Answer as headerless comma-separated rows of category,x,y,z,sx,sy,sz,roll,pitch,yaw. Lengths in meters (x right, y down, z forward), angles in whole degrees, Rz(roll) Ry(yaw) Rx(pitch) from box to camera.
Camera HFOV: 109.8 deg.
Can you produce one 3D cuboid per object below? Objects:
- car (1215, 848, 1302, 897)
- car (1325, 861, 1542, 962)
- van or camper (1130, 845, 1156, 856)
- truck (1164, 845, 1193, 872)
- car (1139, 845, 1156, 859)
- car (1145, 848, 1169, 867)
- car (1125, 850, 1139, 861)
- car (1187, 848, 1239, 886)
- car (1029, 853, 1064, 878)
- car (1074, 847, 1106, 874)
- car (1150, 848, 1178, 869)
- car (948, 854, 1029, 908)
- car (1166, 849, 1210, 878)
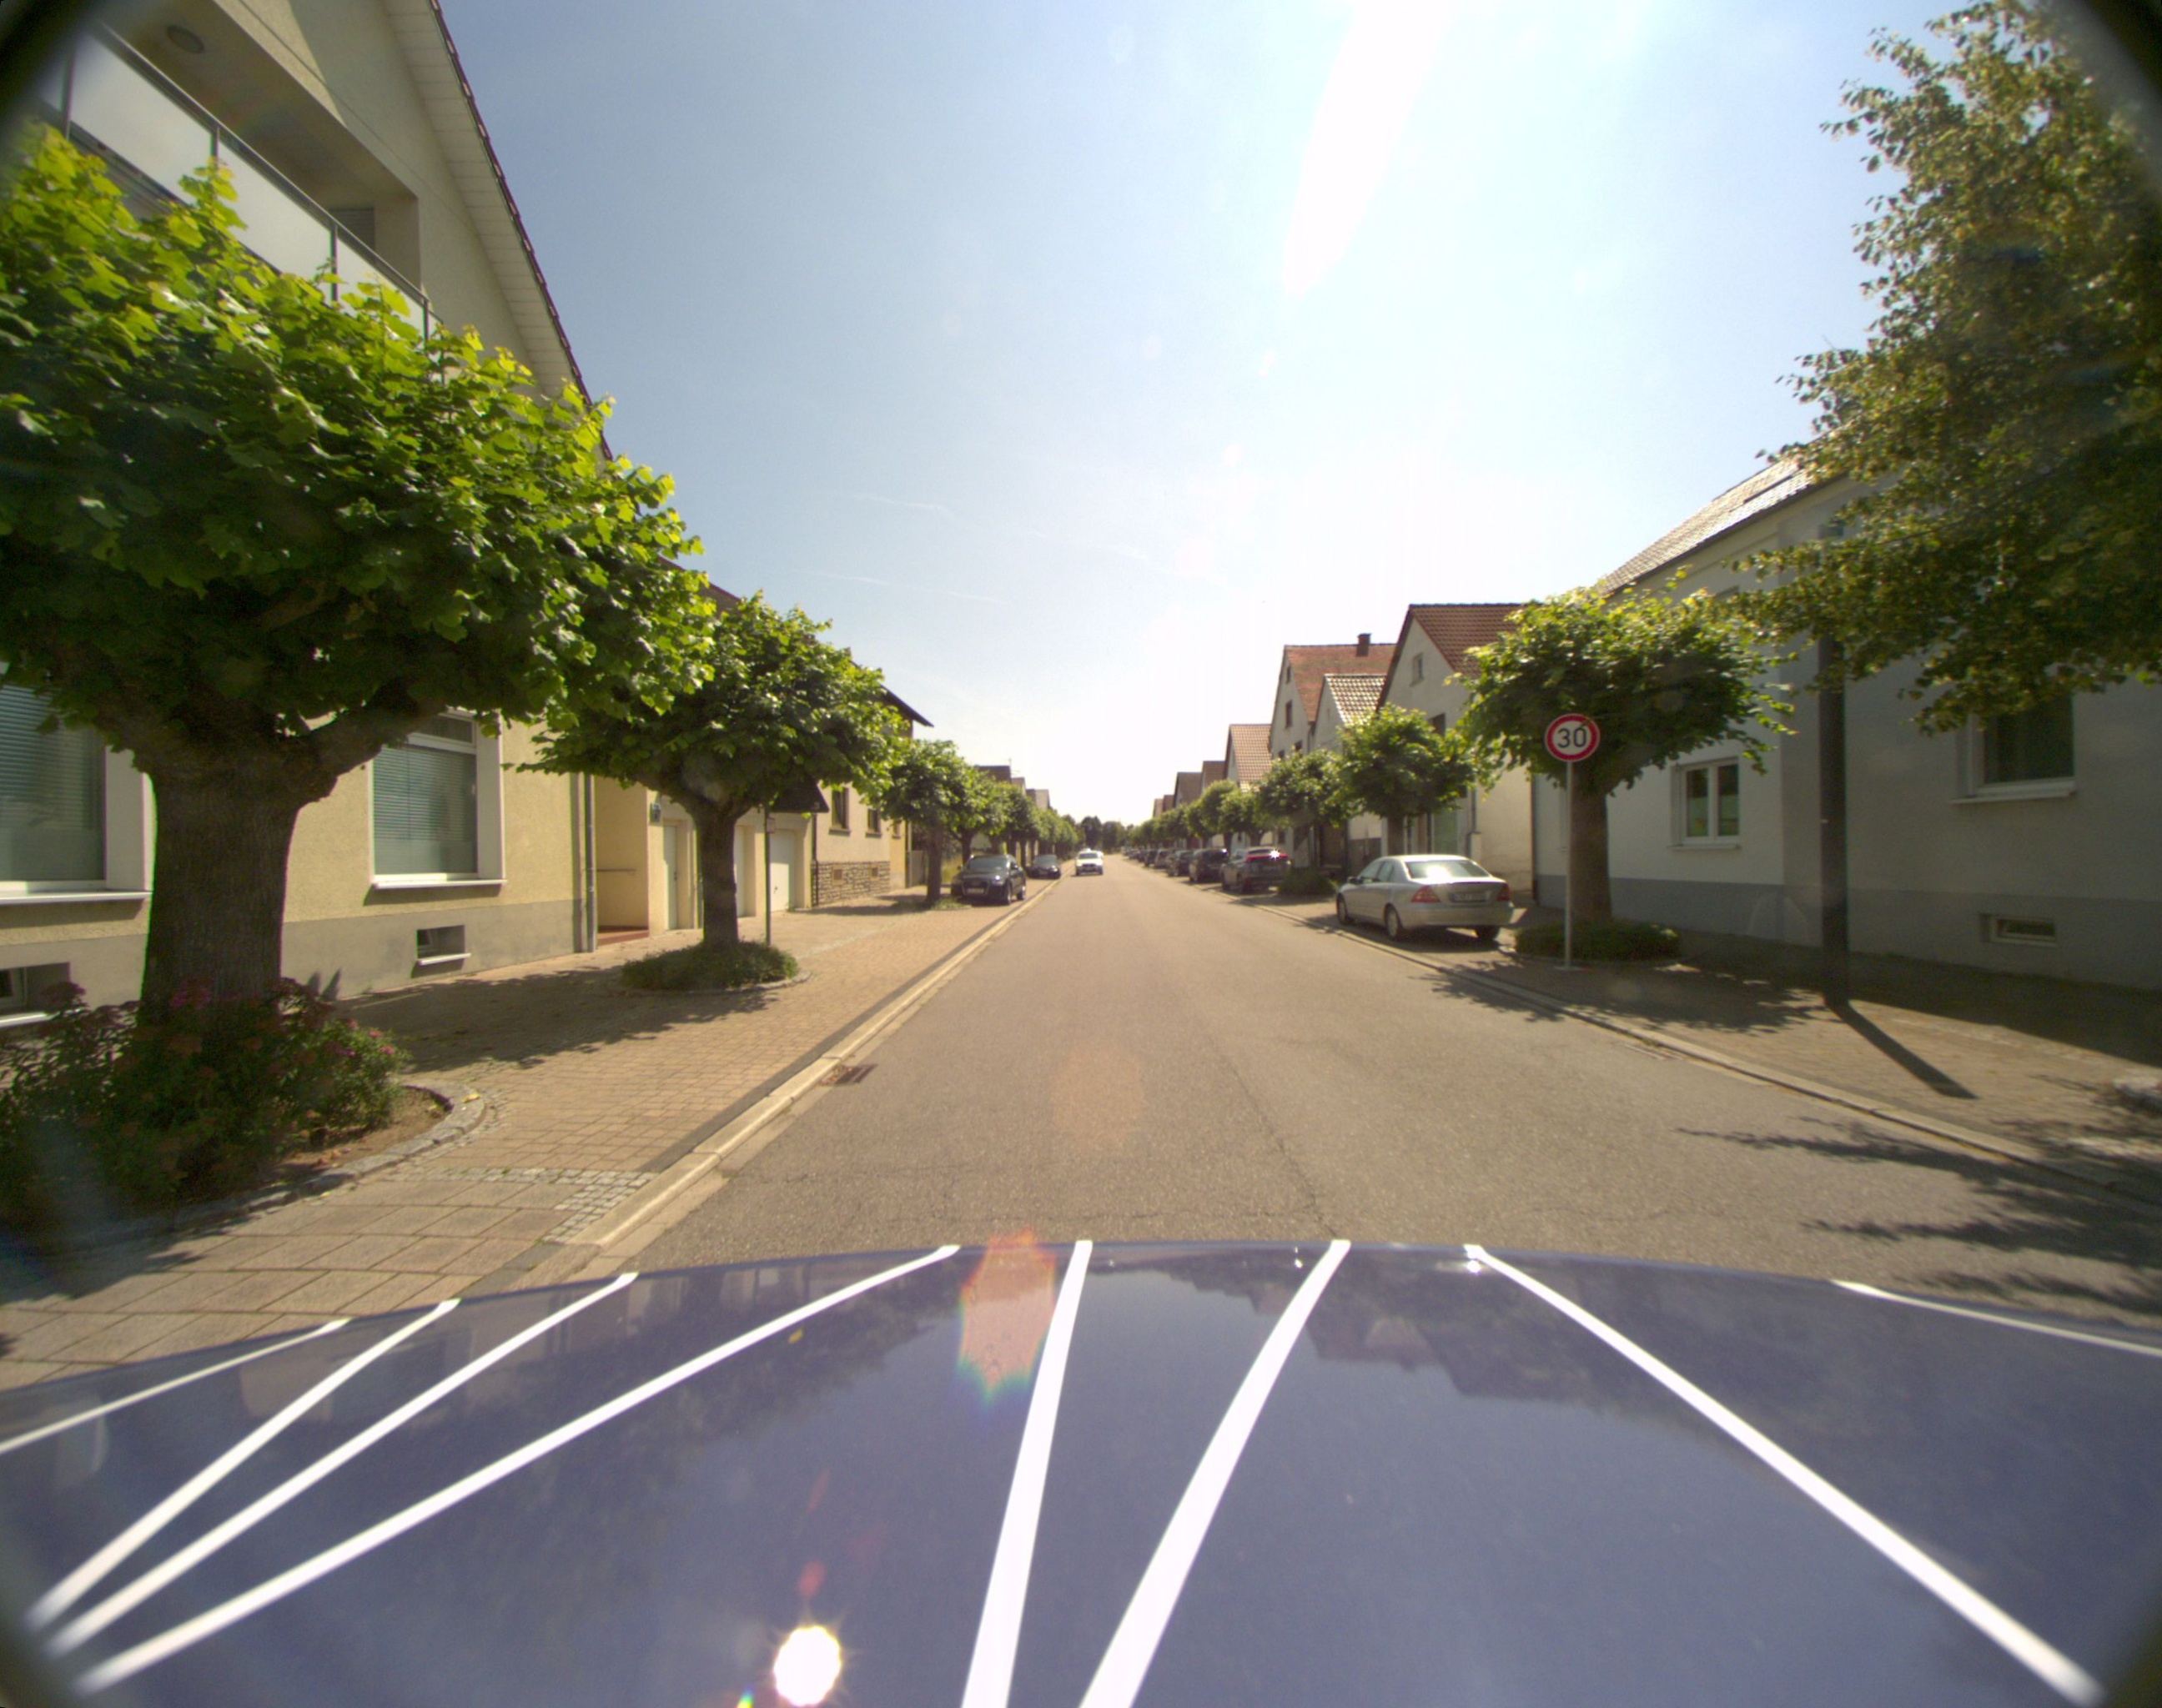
car,6.450,0.625,28.114,1.999,1.643,4.366,-1,0,-2
car,5.980,0.876,13.567,1.845,1.388,4.406,-2,0,1
van or camper,12.022,-0.597,147.769,4.752,1.851,2.000,-3,0,0
truck,7.039,0.286,55.285,1.580,1.755,4.192,-3,1,1
car,7.962,-0.228,91.594,1.857,1.603,4.135,-3,0,3
car,7.029,0.304,70.790,1.857,1.627,4.299,-3,0,1
car,8.041,0.223,120.059,1.829,1.474,4.132,-3,1,2
car,6.369,0.581,37.054,1.857,1.626,4.056,-3,1,1
car,-2.015,0.649,45.899,1.828,1.424,4.057,1,0,1
car,0.661,0.409,51.023,1.857,1.603,4.135,-3,0,3
car,6.907,0.349,63.581,1.857,1.604,4.370,-3,1,1
car,-2.906,0.806,24.726,1.828,1.576,4.058,0,0,5
car,6.499,0.523,46.439,1.791,1.624,3.998,-2,1,-4
